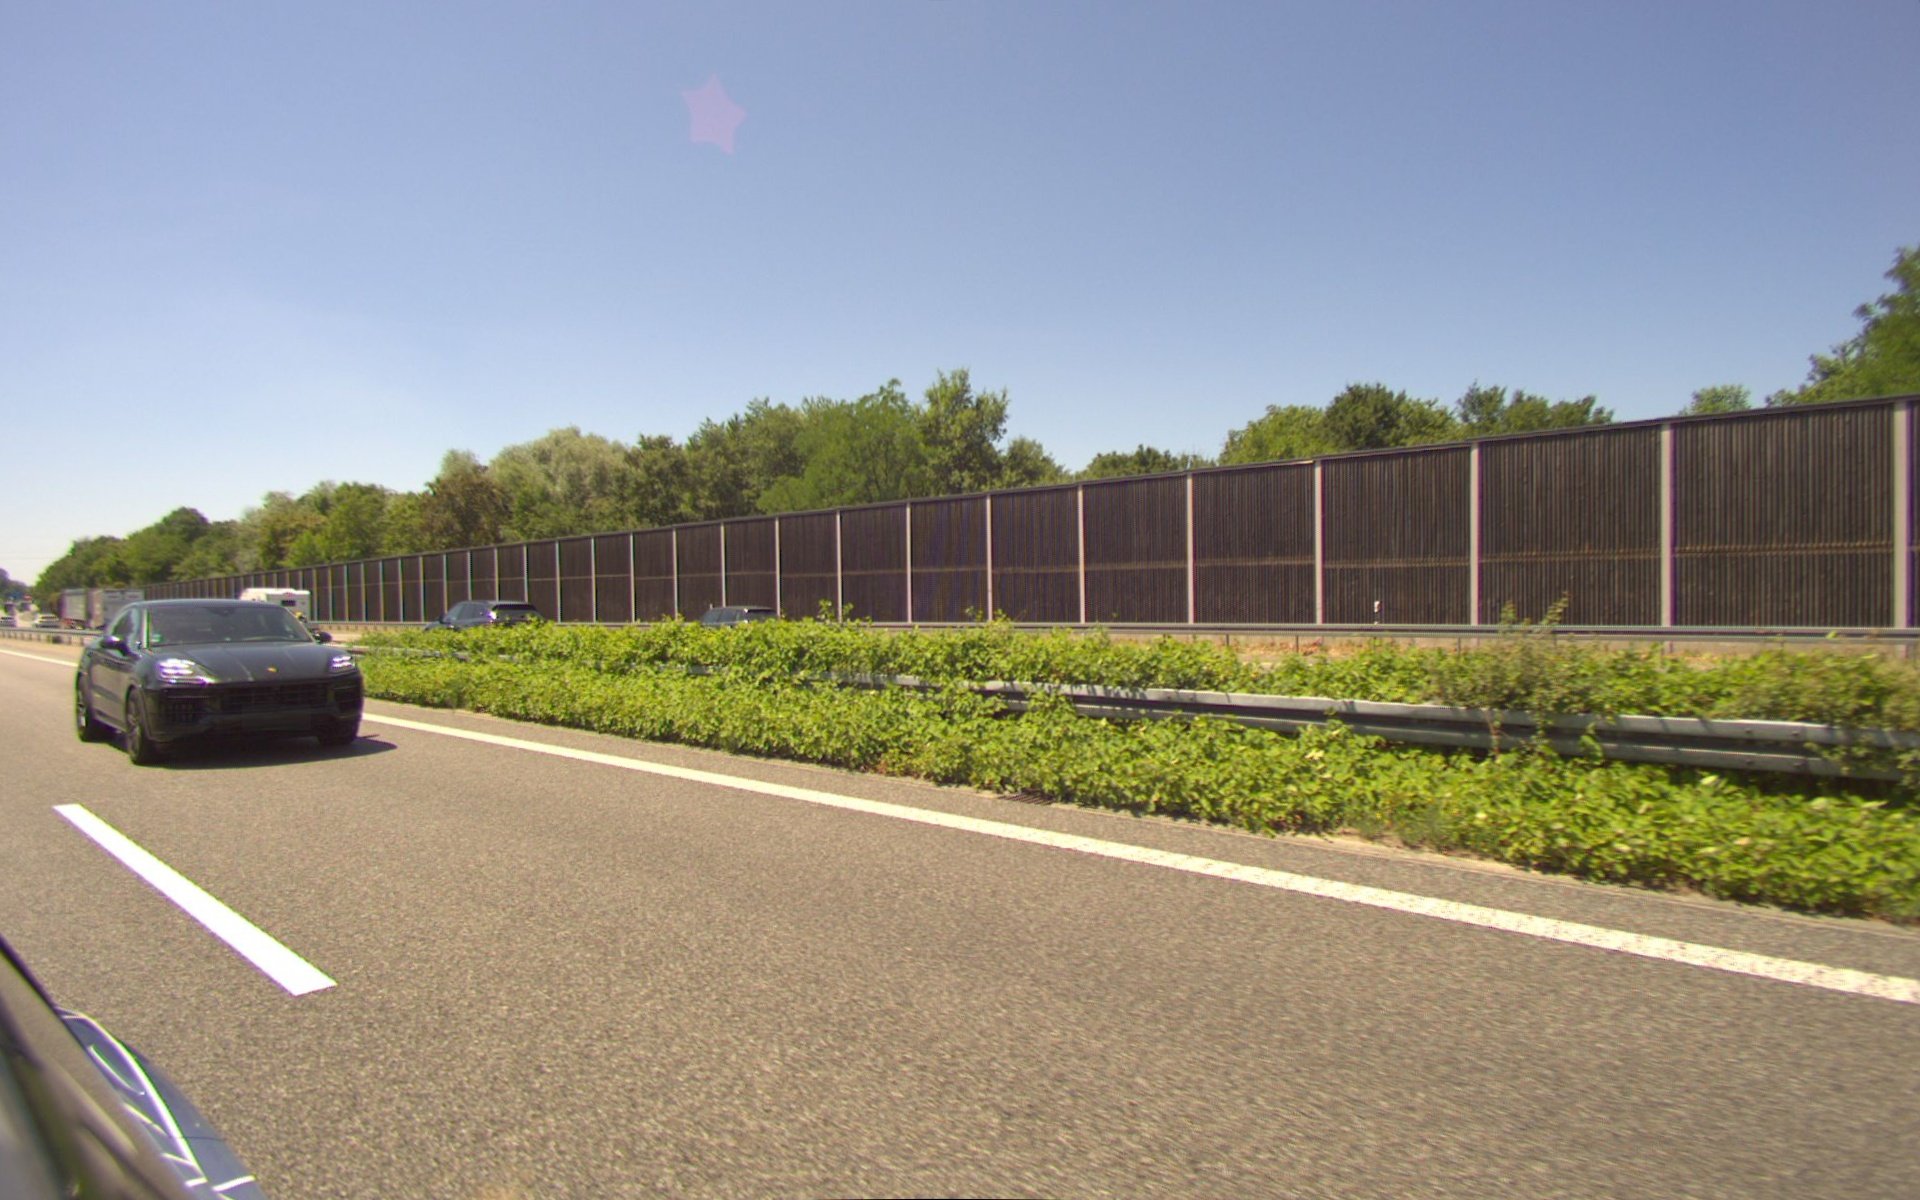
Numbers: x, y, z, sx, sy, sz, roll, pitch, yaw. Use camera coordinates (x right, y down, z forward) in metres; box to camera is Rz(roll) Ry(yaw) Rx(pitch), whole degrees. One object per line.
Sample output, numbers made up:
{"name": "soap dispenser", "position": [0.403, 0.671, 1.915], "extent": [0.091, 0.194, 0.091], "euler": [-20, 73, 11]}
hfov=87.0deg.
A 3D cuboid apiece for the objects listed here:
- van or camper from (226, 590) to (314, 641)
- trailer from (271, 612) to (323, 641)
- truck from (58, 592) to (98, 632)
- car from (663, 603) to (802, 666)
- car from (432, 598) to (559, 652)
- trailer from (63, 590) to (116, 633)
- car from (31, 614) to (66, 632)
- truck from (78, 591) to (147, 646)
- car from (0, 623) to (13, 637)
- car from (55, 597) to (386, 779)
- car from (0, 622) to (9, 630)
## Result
{"name": "van or camper", "position": [-42.397, 0.965, 62.095], "extent": [7.371, 2.936, 2.531], "euler": [-1, -3, 41]}
{"name": "trailer", "position": [-38.425, 1.531, 58.650], "extent": [3.090, 1.591, 1.709], "euler": [-1, -3, 41]}
{"name": "truck", "position": [-92.272, 1.277, 105.876], "extent": [7.152, 4.107, 2.333], "euler": [-1, 0, 42]}
{"name": "car", "position": [-6.450, 0.939, 28.487], "extent": [3.998, 1.612, 1.795], "euler": [-1, 0, 41]}
{"name": "car", "position": [-12.741, 0.674, 27.645], "extent": [3.998, 1.365, 1.688], "euler": [-1, 0, 41]}
{"name": "trailer", "position": [-87.191, 1.183, 101.230], "extent": [14.207, 4.107, 2.316], "euler": [-1, 0, 42]}
{"name": "car", "position": [-82.400, 2.093, 91.453], "extent": [4.581, 1.558, 1.898], "euler": [-1, 0, 43]}
{"name": "truck", "position": [-54.687, 1.183, 65.231], "extent": [6.916, 3.378, 2.385], "euler": [-1, 0, 41]}
{"name": "car", "position": [-109.540, 3.422, 115.564], "extent": [4.245, 1.555, 1.786], "euler": [-1, 0, 42]}
{"name": "car", "position": [-8.826, 0.835, 11.803], "extent": [5.771, 1.637, 2.022], "euler": [-1, -1, 42]}
{"name": "car", "position": [-177.985, 4.850, 187.531], "extent": [5.983, 1.534, 2.101], "euler": [-1, 0, 43]}
